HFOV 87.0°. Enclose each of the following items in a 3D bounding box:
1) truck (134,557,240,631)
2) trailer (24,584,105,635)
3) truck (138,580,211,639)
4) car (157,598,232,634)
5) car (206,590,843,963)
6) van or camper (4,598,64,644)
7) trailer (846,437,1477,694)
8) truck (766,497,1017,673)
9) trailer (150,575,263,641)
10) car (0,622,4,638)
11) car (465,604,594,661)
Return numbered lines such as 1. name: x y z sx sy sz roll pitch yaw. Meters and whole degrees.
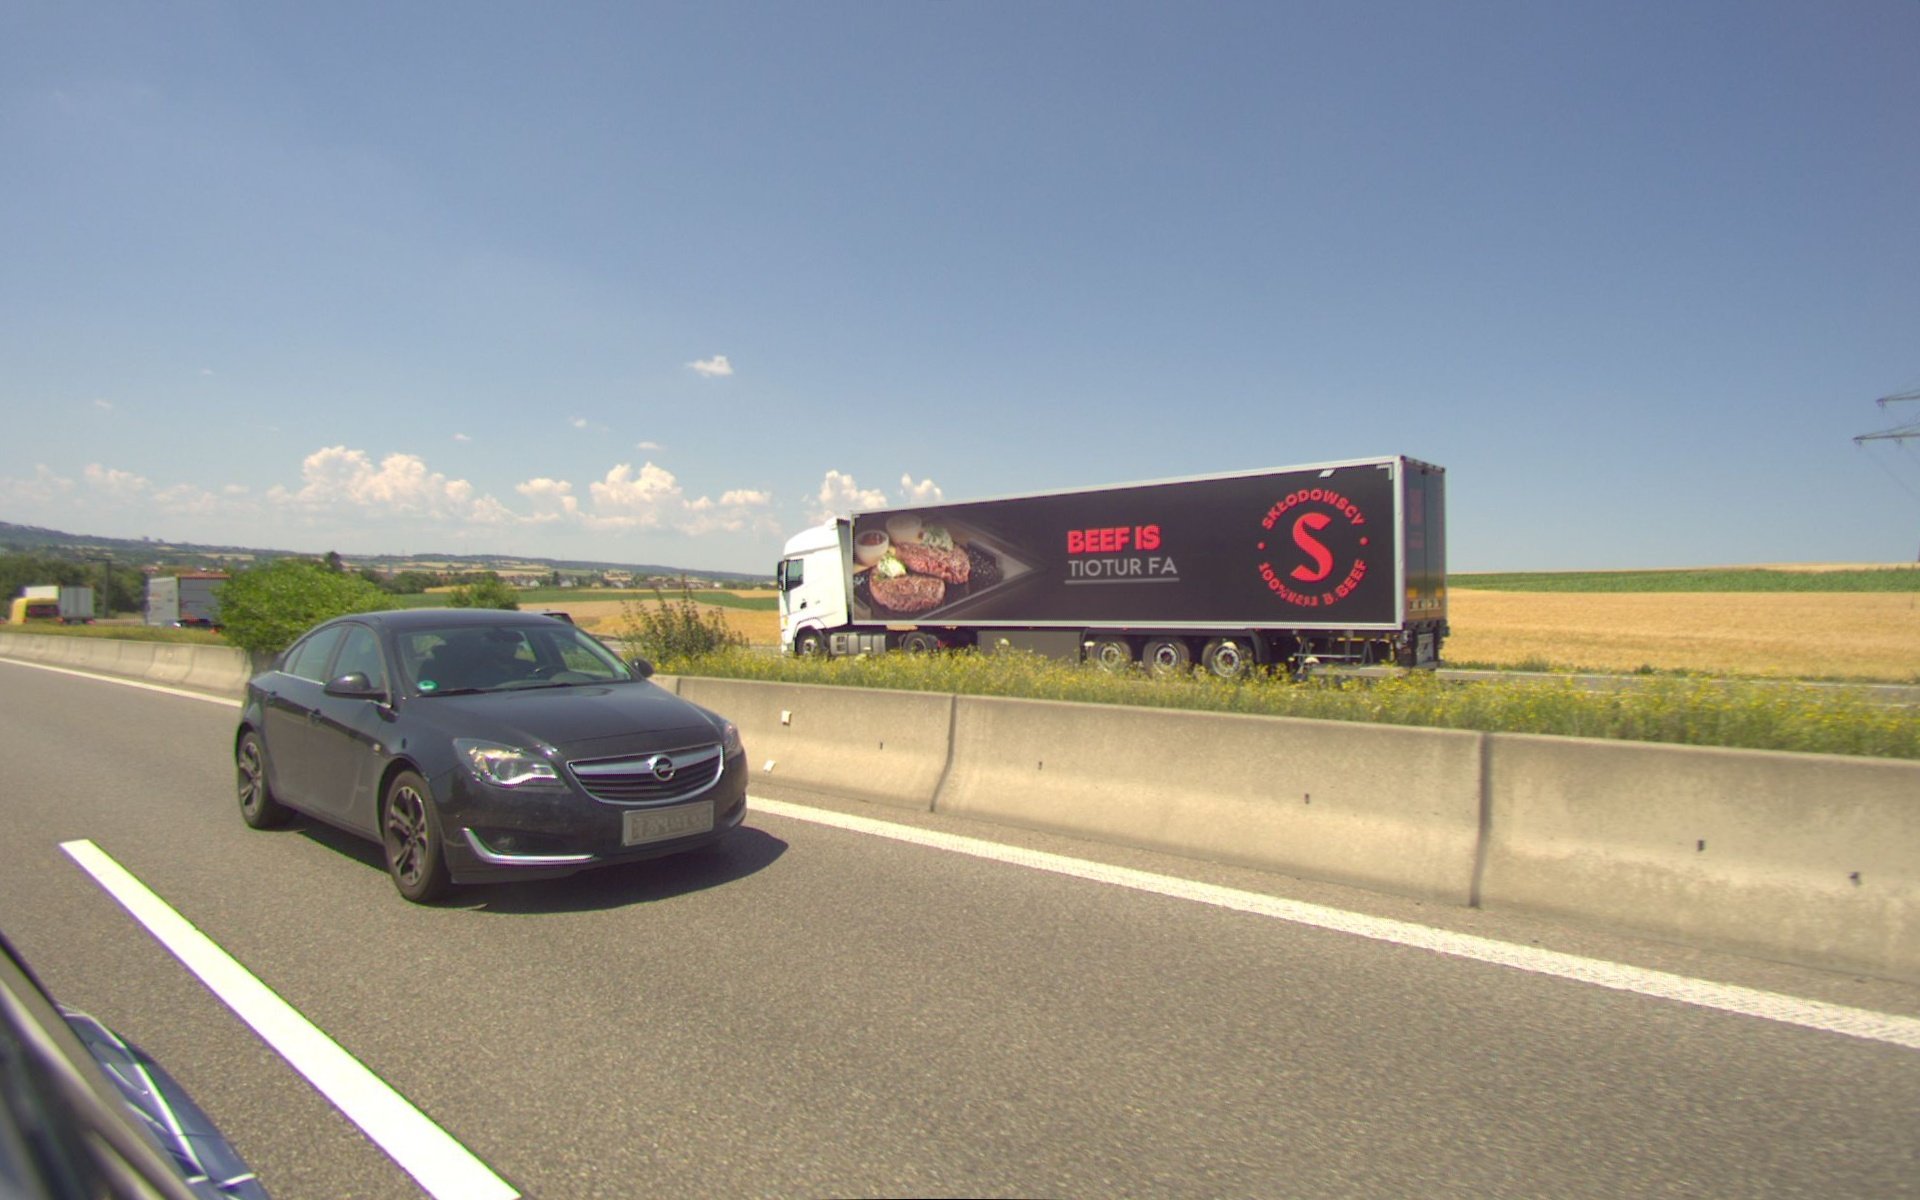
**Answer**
1. truck: -42.130 -0.242 55.040 7.772 3.772 2.906 -2 0 40
2. trailer: -82.509 0.873 93.081 14.010 4.420 3.211 -1 0 39
3. truck: -55.496 0.701 71.437 6.131 3.967 2.749 -1 -1 39
4. car: -32.785 0.676 43.327 3.997 1.479 1.768 -1 0 41
5. car: -3.042 0.770 6.451 4.745 1.555 1.785 -1 -1 40
6. van or camper: -58.217 1.325 63.580 6.134 2.728 2.063 -1 0 40
7. trailer: 3.242 -0.504 21.997 14.003 4.136 2.764 -1 0 42
8. truck: -1.948 -0.322 26.569 6.513 4.057 2.822 -1 0 42
9. trailer: -49.809 0.563 66.639 13.715 3.988 2.810 -1 0 40
10. car: -91.078 2.800 94.730 4.498 1.490 1.801 -1 0 40
11. car: -12.954 0.936 30.377 3.997 1.590 1.973 -1 0 40
